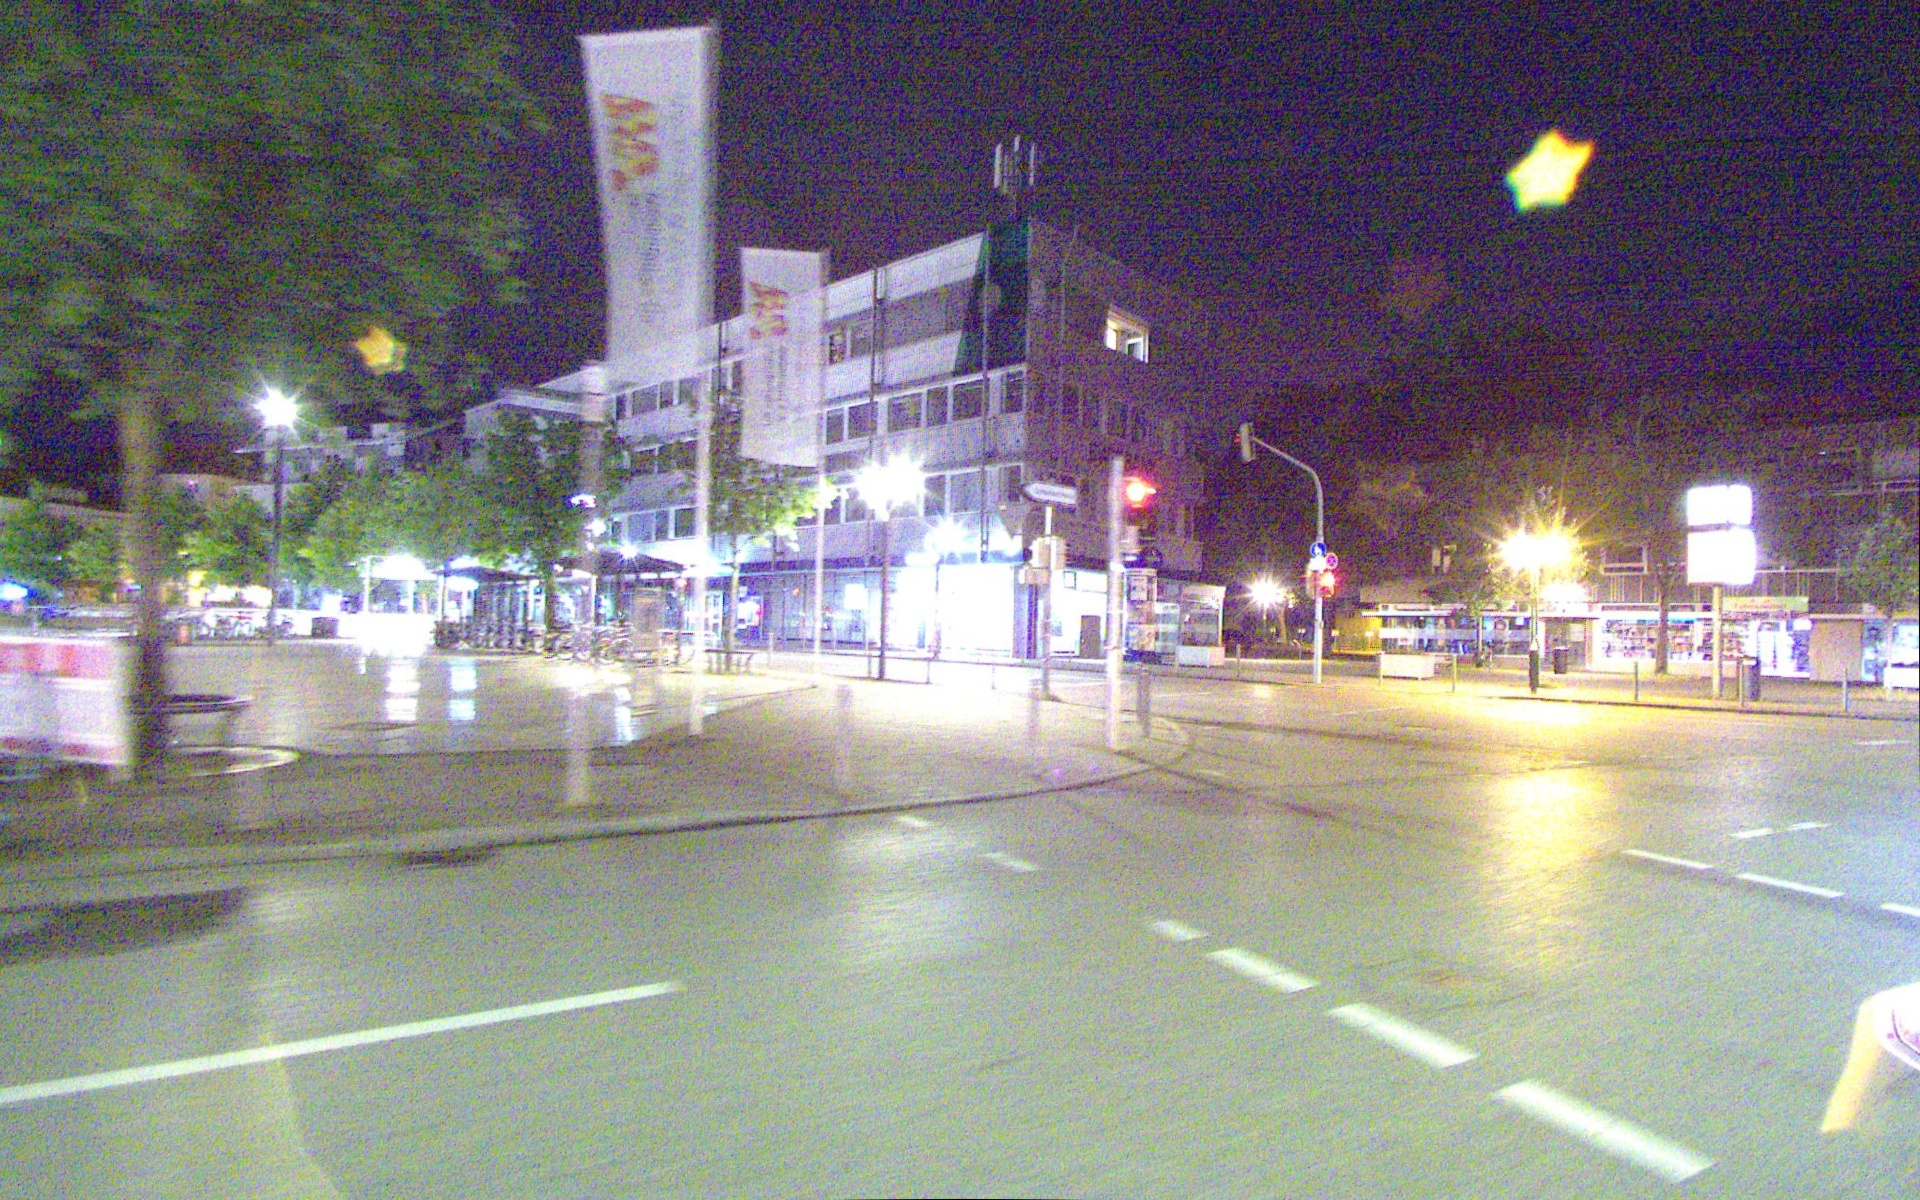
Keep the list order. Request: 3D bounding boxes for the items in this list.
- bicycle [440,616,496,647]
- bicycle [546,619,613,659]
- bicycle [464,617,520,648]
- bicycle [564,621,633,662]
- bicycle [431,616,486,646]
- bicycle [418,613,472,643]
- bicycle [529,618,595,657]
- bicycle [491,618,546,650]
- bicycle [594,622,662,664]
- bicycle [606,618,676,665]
[{"bbox_3d":[-15.983,1.026,32.648,0.473,0.970,1.525,2,-1,44],"label":"bicycle"},{"bbox_3d":[-9.720,0.994,25.666,0.473,0.970,1.525,2,-1,44],"label":"bicycle"},{"bbox_3d":[-14.915,1.044,32.059,0.473,0.970,1.525,2,-1,44],"label":"bicycle"},{"bbox_3d":[-8.966,1.024,24.959,0.473,0.970,1.525,2,-1,44],"label":"bicycle"},{"bbox_3d":[-16.576,1.035,33.225,0.473,0.970,1.525,2,-1,44],"label":"bicycle"},{"bbox_3d":[-17.338,0.940,33.808,0.473,0.970,1.525,2,-1,44],"label":"bicycle"},{"bbox_3d":[-10.394,0.976,26.274,0.473,0.970,1.525,2,-1,44],"label":"bicycle"},{"bbox_3d":[-13.979,1.076,31.838,0.473,0.970,1.525,2,-1,44],"label":"bicycle"},{"bbox_3d":[-8.065,1.043,24.443,0.440,0.970,1.525,2,-1,44],"label":"bicycle"},{"bbox_3d":[-7.539,0.985,23.745,0.440,1.068,1.525,2,-1,44],"label":"bicycle"}]
